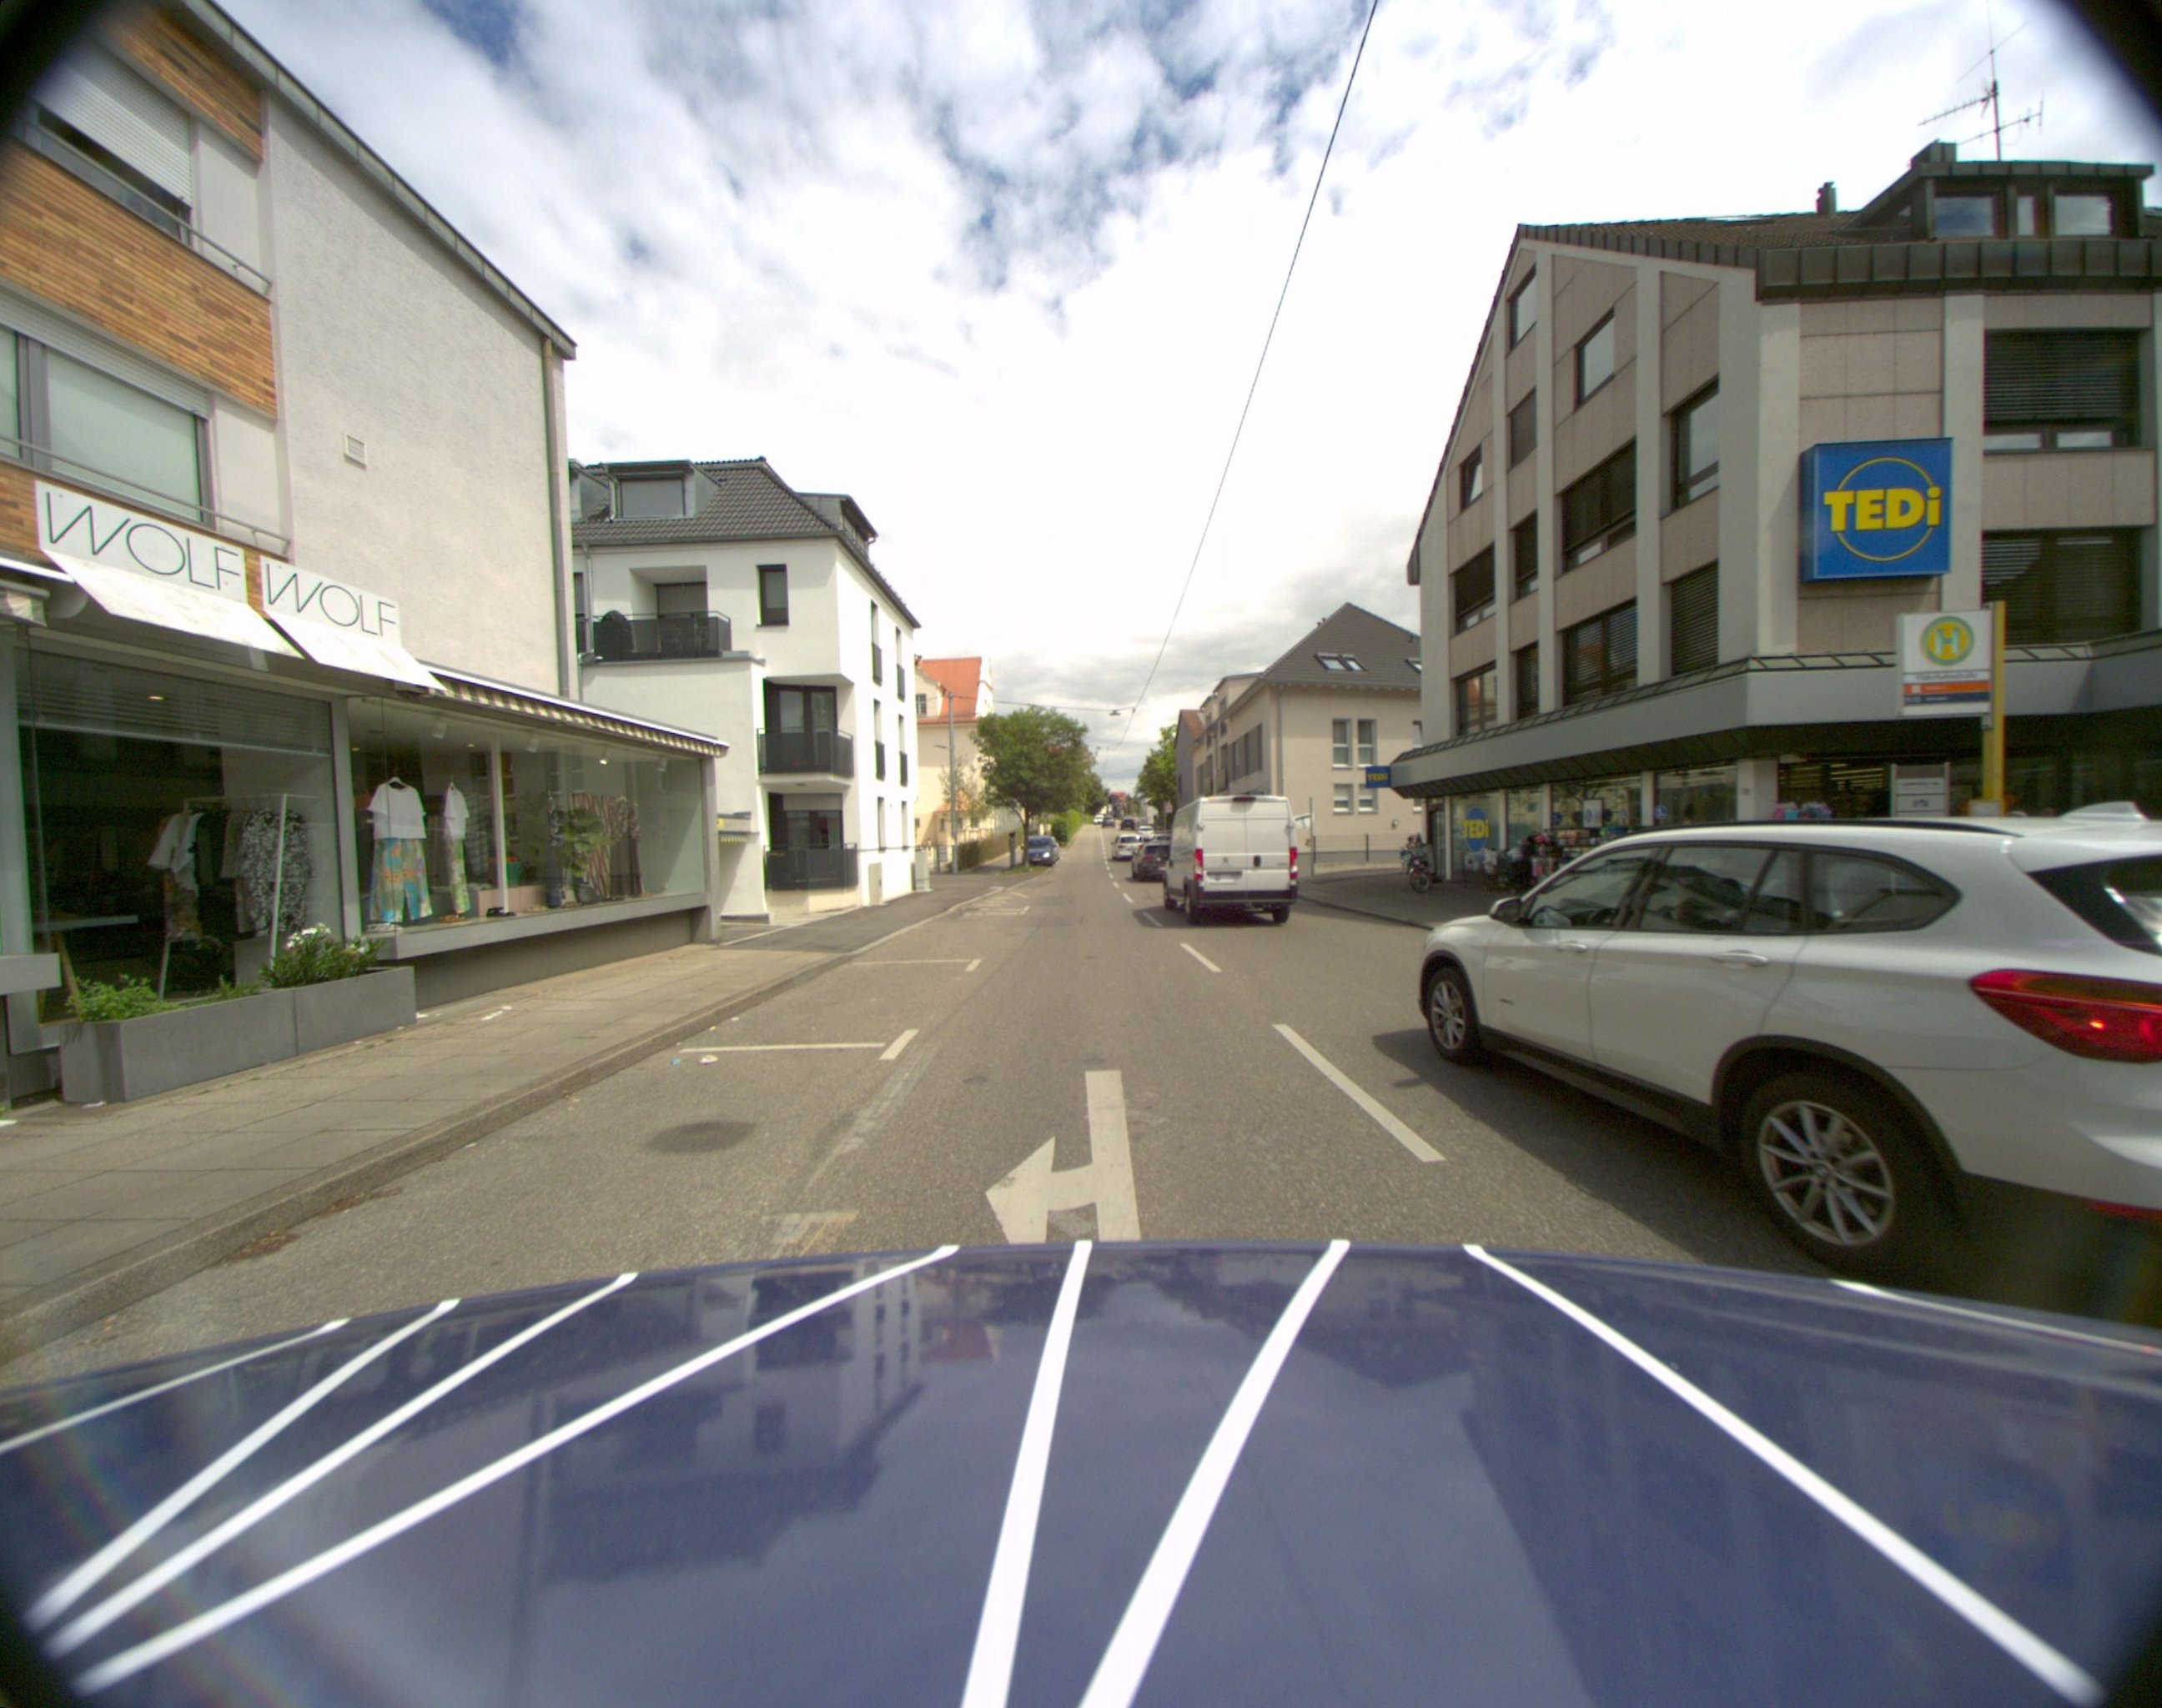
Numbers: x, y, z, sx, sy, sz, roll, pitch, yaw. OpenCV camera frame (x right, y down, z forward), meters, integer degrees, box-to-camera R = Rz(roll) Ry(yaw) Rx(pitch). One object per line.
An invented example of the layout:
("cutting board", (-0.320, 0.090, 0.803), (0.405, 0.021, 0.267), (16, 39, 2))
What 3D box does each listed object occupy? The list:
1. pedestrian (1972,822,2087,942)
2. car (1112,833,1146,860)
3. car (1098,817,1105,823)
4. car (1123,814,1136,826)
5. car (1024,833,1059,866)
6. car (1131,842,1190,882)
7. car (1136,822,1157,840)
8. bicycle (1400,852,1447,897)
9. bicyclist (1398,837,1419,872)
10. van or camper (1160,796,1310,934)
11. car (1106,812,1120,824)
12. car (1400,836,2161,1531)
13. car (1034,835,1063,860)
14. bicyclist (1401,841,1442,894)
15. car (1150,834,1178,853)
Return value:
("pedestrian", (13.008, 0.362, 10.445), (0.573, 1.550, 0.772), (-3, 4, 3))
("car", (2.966, -0.494, 47.659), (1.779, 1.604, 4.118), (0, 2, -1))
("car", (4.025, -6.618, 148.153), (1.298, 1.148, 2.982), (-3, 1, 1))
("car", (6.751, -4.731, 105.980), (1.672, 1.546, 3.963), (-1, 4, 1))
("car", (-2.273, -0.305, 44.659), (1.698, 1.734, 4.158), (-1, 2, 1))
("car", (3.135, 0.270, 30.783), (1.796, 1.502, 3.843), (-1, 1, -3))
("car", (6.304, -2.237, 72.985), (1.737, 1.480, 4.064), (-1, 4, 1))
("bicycle", (9.104, 0.528, 20.254), (0.444, 1.044, 1.733), (-5, 3, 1))
("bicyclist", (12.005, 0.027, 27.851), (0.640, 1.235, 0.427), (0, 4, 34))
("van or camper", (3.161, 0.190, 16.920), (2.154, 2.541, 5.437), (-1, 0, -1))
("car", (4.873, -5.462, 116.300), (1.946, 1.709, 4.595), (-1, 2, 0))
("car", (3.371, 0.738, 3.670), (1.785, 1.630, 4.219), (0, 1, -2))
("car", (-2.147, -0.474, 50.503), (1.677, 1.511, 3.668), (-1, 3, 1))
("bicyclist", (9.102, 0.347, 20.318), (0.669, 1.330, 0.761), (-5, 3, 1))
("car", (6.015, -0.771, 55.241), (1.665, 1.322, 3.473), (-1, 1, 1))
